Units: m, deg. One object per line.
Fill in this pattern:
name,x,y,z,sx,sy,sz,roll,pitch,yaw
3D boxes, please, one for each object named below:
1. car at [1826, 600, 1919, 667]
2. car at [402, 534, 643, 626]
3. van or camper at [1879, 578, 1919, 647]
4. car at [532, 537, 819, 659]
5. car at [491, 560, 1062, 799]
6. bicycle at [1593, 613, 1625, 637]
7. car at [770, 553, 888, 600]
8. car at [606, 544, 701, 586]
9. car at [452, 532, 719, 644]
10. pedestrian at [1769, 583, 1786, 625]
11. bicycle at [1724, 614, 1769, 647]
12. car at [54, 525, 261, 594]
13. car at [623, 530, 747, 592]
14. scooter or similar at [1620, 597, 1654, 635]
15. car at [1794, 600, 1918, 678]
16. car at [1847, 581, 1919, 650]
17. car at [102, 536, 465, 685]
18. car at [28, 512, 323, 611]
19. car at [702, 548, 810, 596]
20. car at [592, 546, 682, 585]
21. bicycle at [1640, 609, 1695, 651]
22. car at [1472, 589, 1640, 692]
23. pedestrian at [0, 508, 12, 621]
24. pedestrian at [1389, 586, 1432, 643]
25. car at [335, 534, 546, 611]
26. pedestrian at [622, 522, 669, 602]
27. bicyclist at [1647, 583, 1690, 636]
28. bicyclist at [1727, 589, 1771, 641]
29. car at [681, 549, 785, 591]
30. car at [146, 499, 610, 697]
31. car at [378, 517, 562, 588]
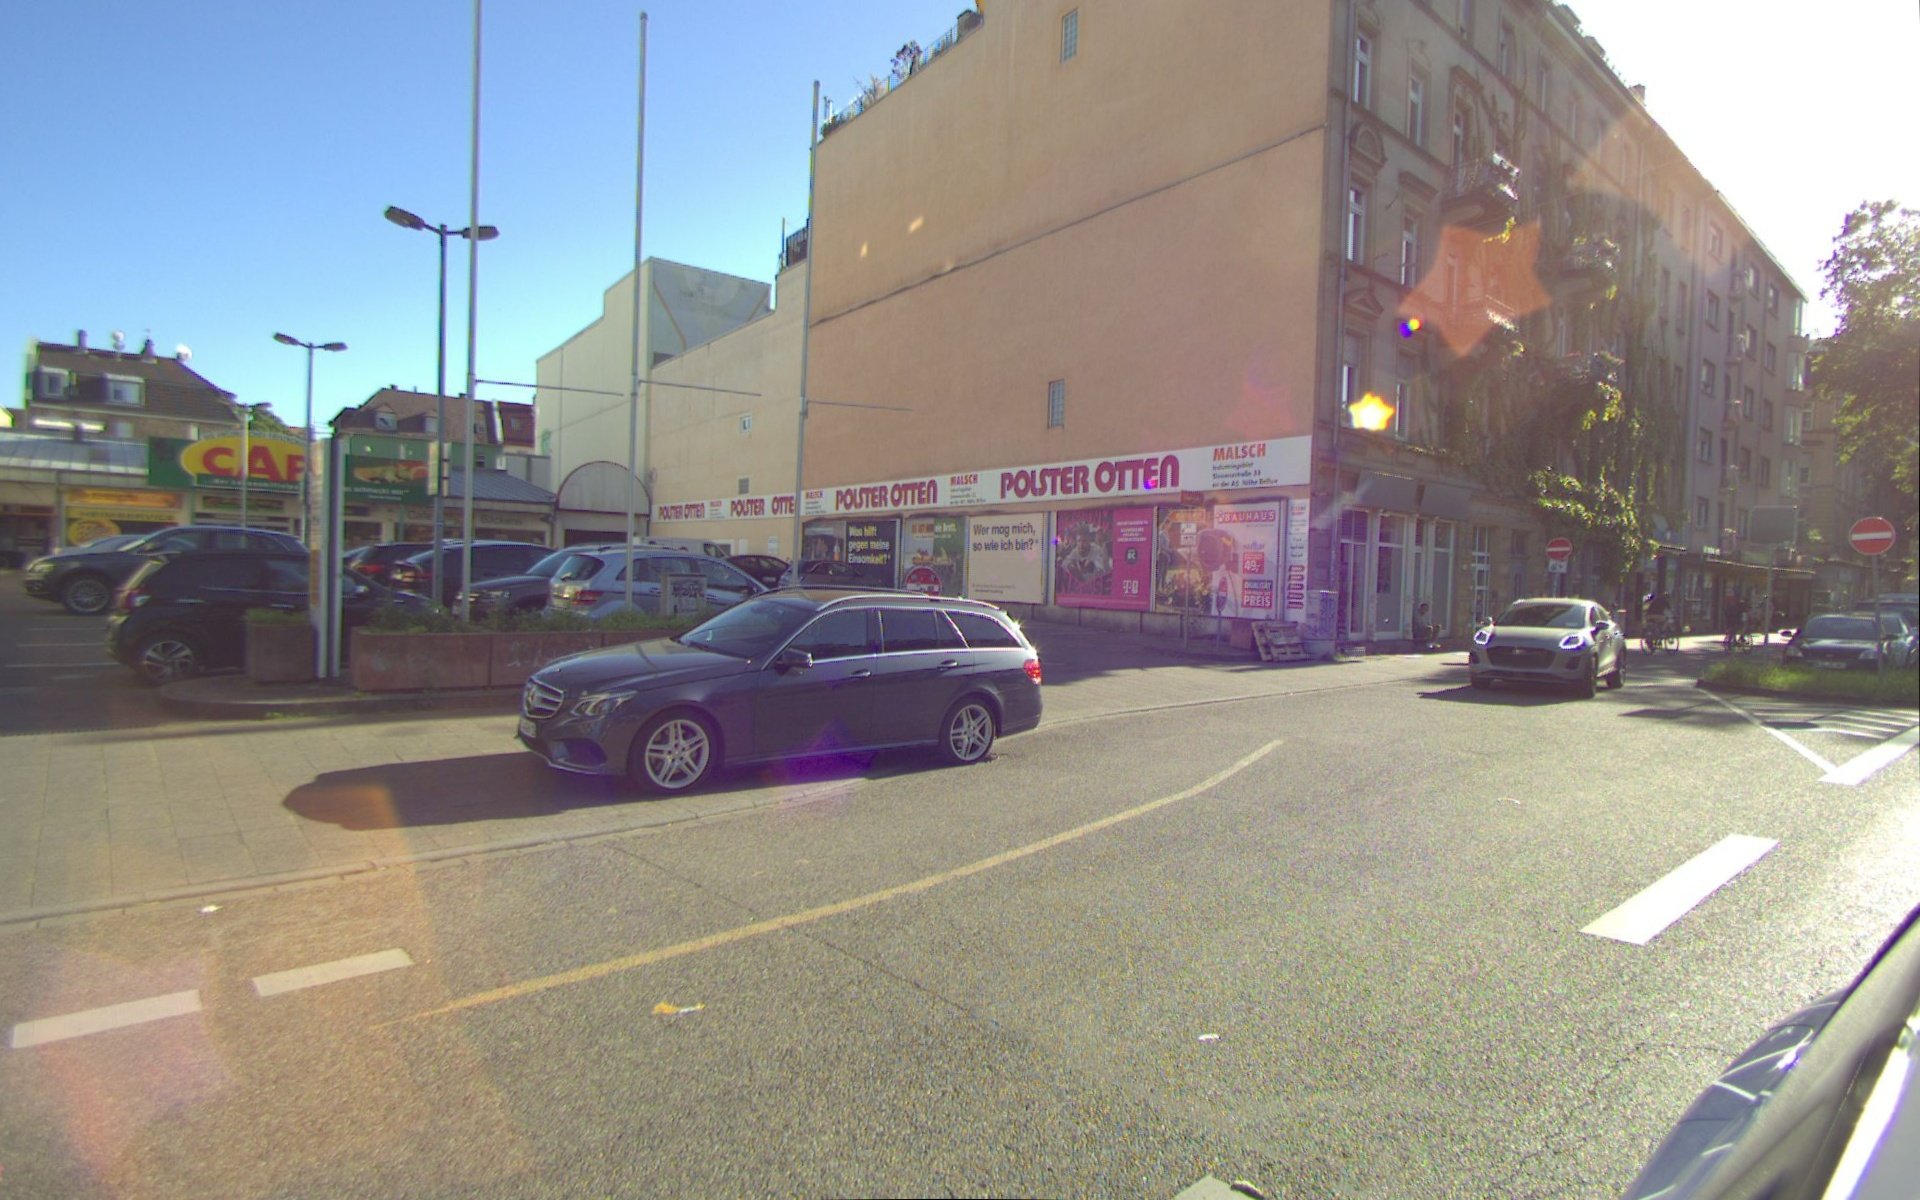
car,22.814,0.769,24.983,3.932,1.537,1.740,0,-1,-43
car,-8.186,-0.377,19.130,3.871,1.563,1.544,0,2,-43
van or camper,30.715,0.403,32.011,5.006,2.038,1.887,0,2,-42
car,-4.323,-0.062,15.747,3.934,1.665,1.746,0,2,-45
car,-1.413,0.518,8.977,4.650,1.505,1.838,0,4,-40
bicycle,20.966,0.795,32.693,1.486,0.714,0.469,1,1,-41
car,-4.347,-0.799,33.755,3.579,1.481,1.680,-1,3,-39
car,-14.468,-1.635,47.797,3.967,1.823,1.664,1,2,-30
car,-6.359,-0.217,17.427,3.933,1.714,1.747,0,2,-44
pedestrian,36.523,0.188,45.211,0.507,1.856,0.469,1,1,-41
bicycle,23.463,0.898,30.177,1.884,0.931,0.651,1,1,-40
car,-19.928,-0.974,25.259,3.930,1.538,1.725,0,2,-41
car,-11.733,-1.638,43.307,4.788,2.442,1.712,1,2,-33
scooter or similar,22.446,0.507,33.578,0.631,1.188,1.720,2,2,25
car,19.566,0.781,22.053,3.932,1.537,1.642,0,-1,-43
car,26.598,0.422,28.472,3.929,1.785,1.868,0,2,-40
car,-7.878,0.076,11.946,3.339,1.504,1.559,0,2,-45
car,-14.893,-0.693,19.407,4.306,1.687,1.758,0,2,-41
car,-7.528,-1.042,37.438,3.575,1.690,1.682,-1,3,-35
car,-15.957,-1.709,49.996,3.967,1.758,1.664,1,2,-30
bicycle,20.001,0.832,28.608,1.918,1.116,0.758,1,2,-39
car,10.453,0.617,17.610,1.696,1.547,4.314,1,1,42
pedestrian,-15.359,-0.558,15.730,0.504,1.777,0.761,2,1,6
pedestrian,10.420,0.327,23.393,0.715,1.277,0.703,1,0,42
car,-11.404,-0.592,22.346,3.870,1.563,1.544,0,2,-42
pedestrian,-8.252,-0.992,26.576,0.907,2.039,0.818,1,1,-40
bicyclist,20.031,0.254,28.615,0.934,1.480,0.746,0,1,-39
bicyclist,23.599,0.453,30.272,1.161,1.463,0.678,1,5,-41
car,-8.785,-1.158,39.283,3.575,1.552,1.682,-1,3,-35
car,-5.846,-0.040,10.461,3.839,1.665,1.652,1,3,-45
car,-12.284,-1.156,25.492,3.870,1.601,1.659,0,2,-42
